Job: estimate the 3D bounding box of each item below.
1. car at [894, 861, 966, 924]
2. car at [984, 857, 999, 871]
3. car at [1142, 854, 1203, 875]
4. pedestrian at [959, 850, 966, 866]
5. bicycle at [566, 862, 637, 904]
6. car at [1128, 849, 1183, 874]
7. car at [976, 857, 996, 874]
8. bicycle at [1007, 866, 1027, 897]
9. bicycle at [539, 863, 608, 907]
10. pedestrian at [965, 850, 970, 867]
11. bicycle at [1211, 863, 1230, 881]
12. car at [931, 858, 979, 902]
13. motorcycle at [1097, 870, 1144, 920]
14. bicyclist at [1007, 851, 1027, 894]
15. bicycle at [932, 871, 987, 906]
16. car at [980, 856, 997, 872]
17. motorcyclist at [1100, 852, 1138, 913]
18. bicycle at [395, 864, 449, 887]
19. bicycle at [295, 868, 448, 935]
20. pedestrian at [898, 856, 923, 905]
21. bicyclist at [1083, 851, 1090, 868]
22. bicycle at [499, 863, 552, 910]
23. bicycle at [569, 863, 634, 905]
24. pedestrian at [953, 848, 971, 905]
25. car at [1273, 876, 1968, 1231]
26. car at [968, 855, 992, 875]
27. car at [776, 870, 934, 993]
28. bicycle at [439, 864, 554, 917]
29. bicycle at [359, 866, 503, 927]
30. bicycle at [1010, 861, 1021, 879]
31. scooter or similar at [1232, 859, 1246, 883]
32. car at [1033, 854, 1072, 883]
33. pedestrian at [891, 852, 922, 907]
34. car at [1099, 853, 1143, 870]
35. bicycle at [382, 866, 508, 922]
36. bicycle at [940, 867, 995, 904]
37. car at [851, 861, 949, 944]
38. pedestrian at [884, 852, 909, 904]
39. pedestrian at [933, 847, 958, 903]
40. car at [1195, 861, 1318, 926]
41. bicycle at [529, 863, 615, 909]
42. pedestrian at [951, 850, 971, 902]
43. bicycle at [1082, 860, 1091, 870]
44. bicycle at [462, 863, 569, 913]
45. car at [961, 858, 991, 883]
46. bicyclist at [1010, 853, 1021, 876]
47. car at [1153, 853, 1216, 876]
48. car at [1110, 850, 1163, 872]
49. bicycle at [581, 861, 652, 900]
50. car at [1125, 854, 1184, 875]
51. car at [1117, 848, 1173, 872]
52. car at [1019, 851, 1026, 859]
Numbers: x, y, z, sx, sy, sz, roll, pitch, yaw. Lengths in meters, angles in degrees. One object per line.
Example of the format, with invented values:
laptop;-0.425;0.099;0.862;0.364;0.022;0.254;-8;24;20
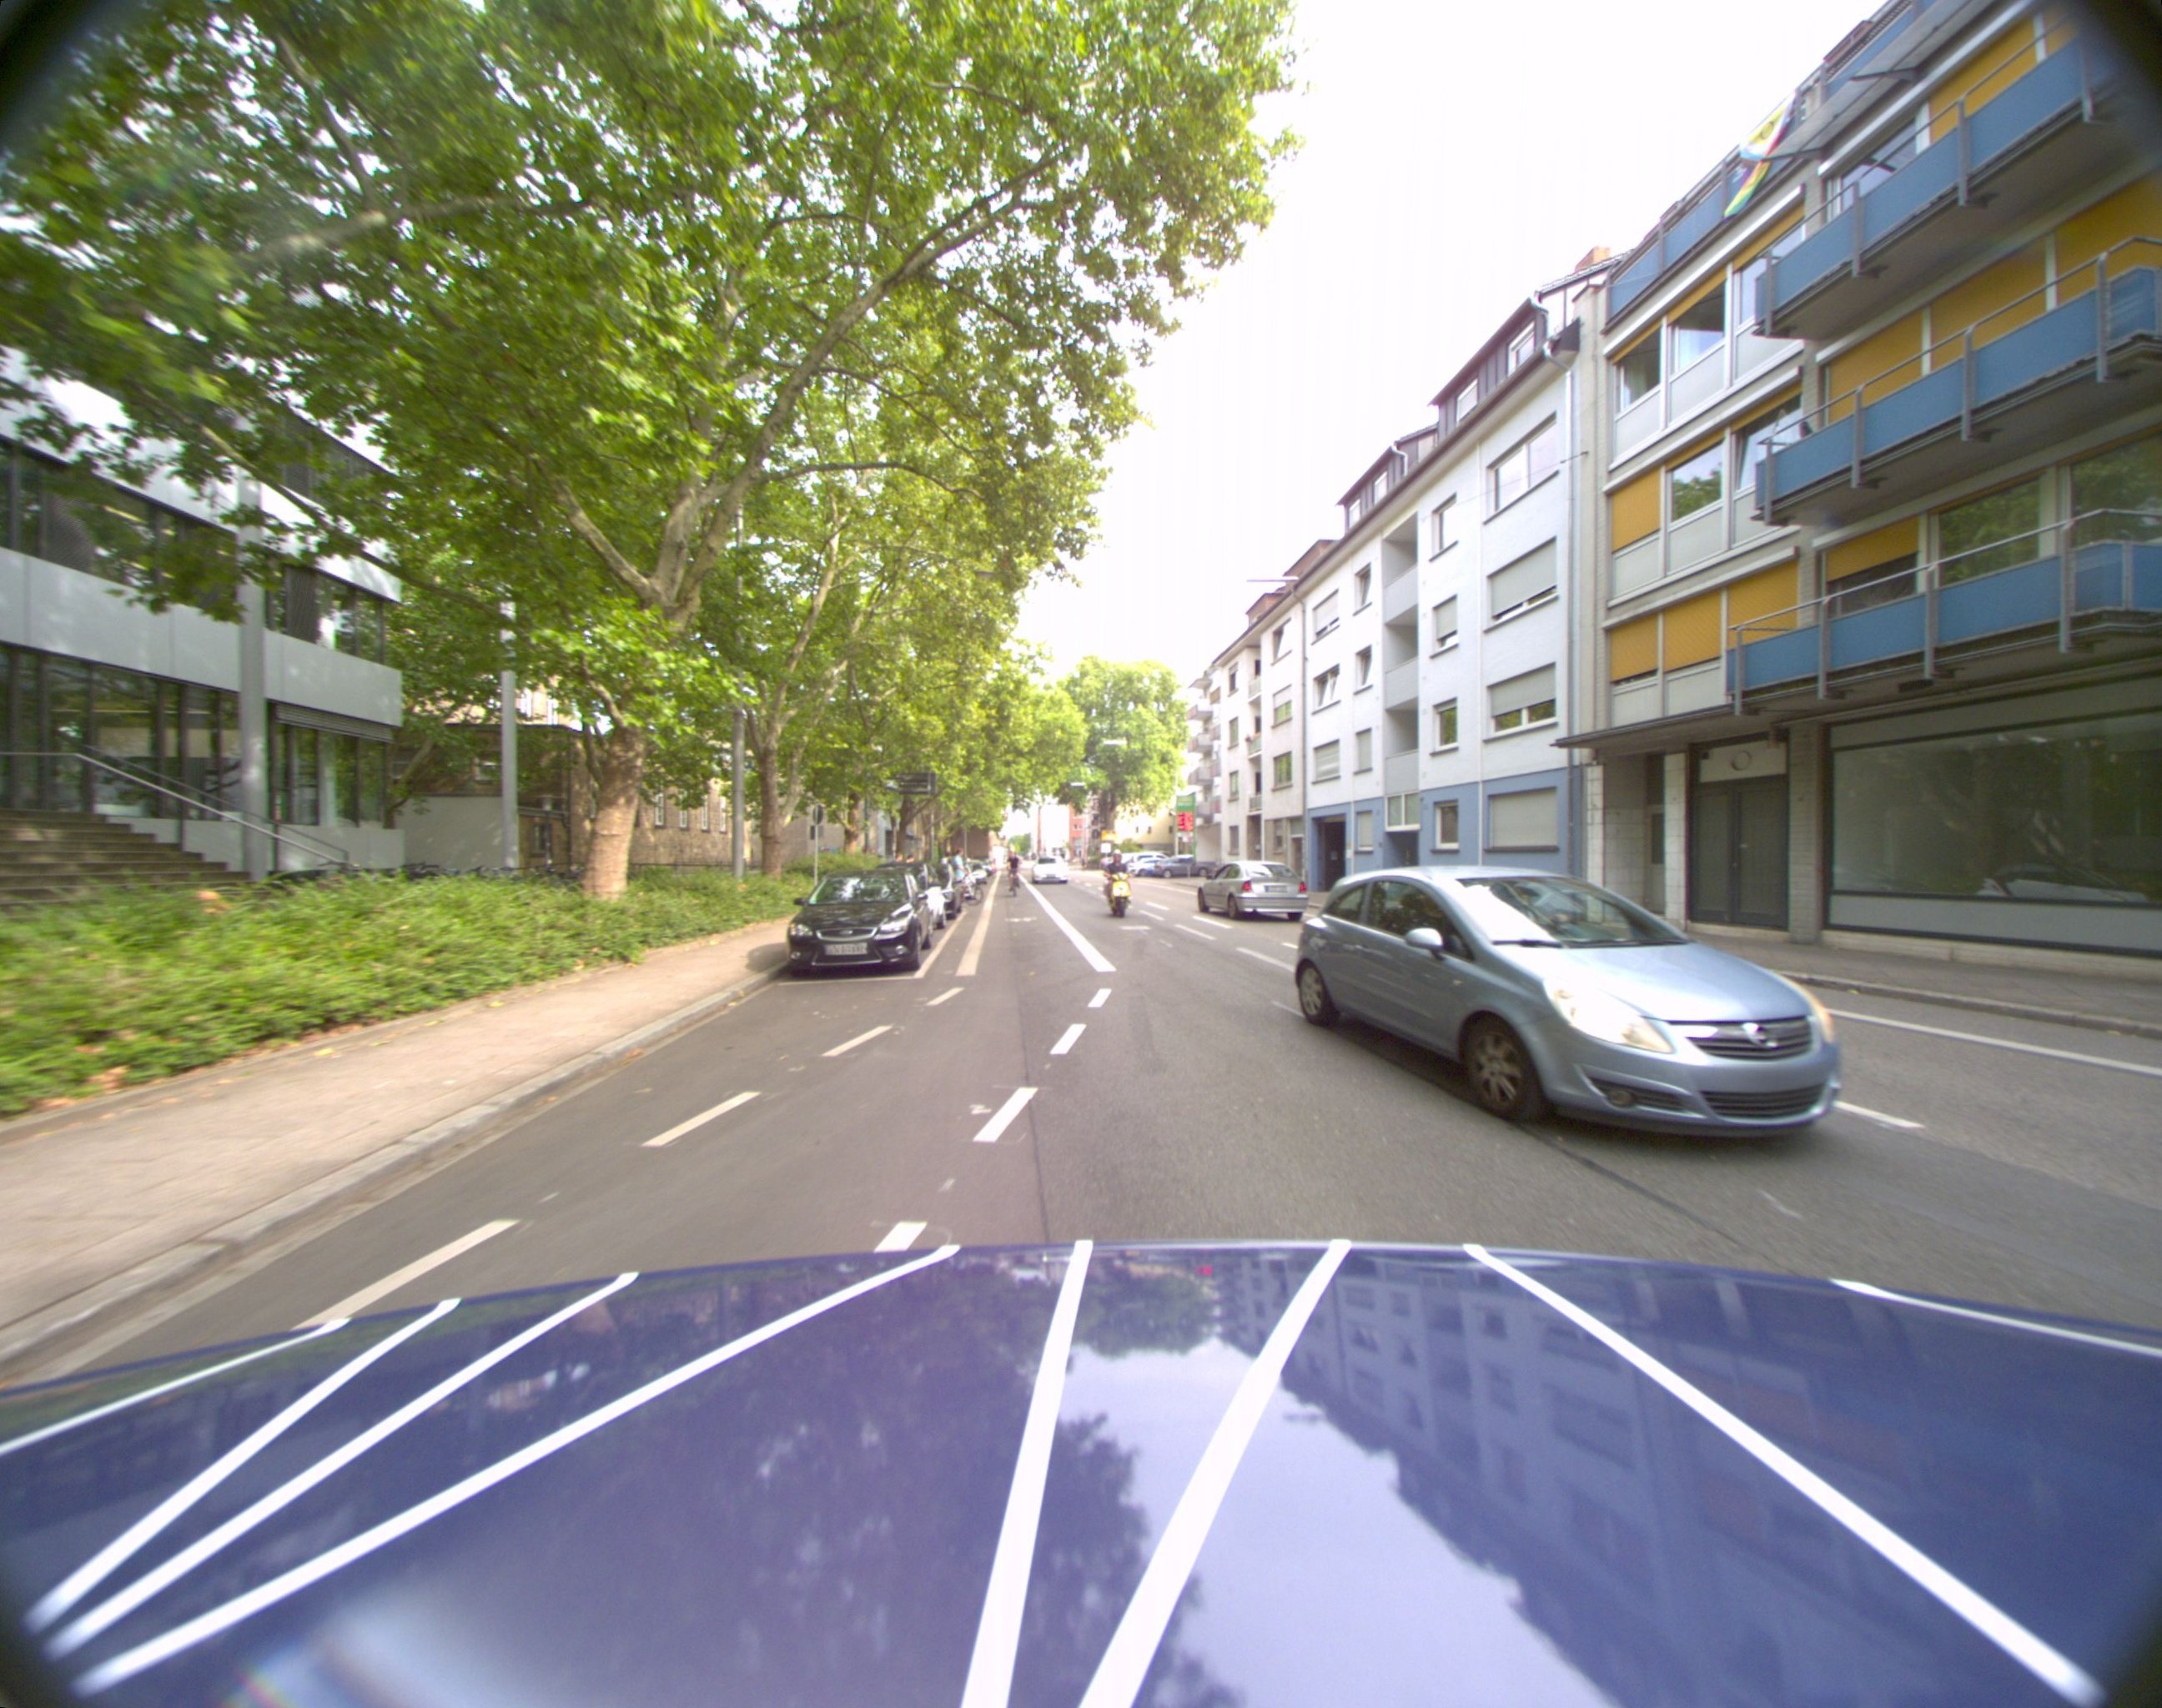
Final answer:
car;-4.078;0.972;20.950;1.533;1.493;3.658;-2;0;-5
car;-10.063;1.108;85.478;1.603;1.438;4.103;-2;0;-5
car;6.939;0.792;57.840;4.313;1.442;1.909;-3;0;-5
pedestrian;-13.327;0.465;85.784;0.644;1.823;0.645;3;1;-7
bicycle;-12.989;0.793;20.600;1.544;1.111;0.468;1;0;-13
car;6.133;0.598;62.767;4.223;1.837;1.923;-3;0;-5
car;-8.760;1.024;70.429;1.644;1.424;4.571;-2;0;-5
bicycle;-2.595;1.094;30.848;0.763;1.162;1.948;-1;0;-5
bicycle;-13.039;0.792;19.537;1.384;1.111;0.510;1;0;-20
pedestrian;-12.751;0.501;85.453;0.502;1.775;0.527;3;1;-7
bicycle;7.677;0.963;41.876;0.599;0.945;1.662;-1;0;-6
car;-5.016;0.974;30.616;1.686;1.507;4.541;-3;0;-8
motorcycle;1.005;1.051;20.242;0.905;1.190;2.629;0;0;-5
bicyclist;-2.606;0.725;30.809;0.765;1.699;0.917;-1;1;-5
bicycle;-4.108;1.167;25.642;1.741;1.099;0.551;-1;1;-17
car;-9.707;1.024;80.170;1.603;1.496;4.438;-2;0;-5
motorcyclist;1.009;0.748;20.243;0.905;1.608;0.691;0;1;-5
bicycle;-25.785;0.825;29.736;1.624;0.873;0.508;0;3;-1
bicycle;-12.348;0.824;13.271;1.921;1.111;0.673;1;0;-6
pedestrian;-5.905;0.912;26.334;0.723;1.648;0.654;-1;1;-6
bicyclist;0.587;0.600;80.748;0.654;1.800;1.045;-1;1;-6
bicycle;-13.867;0.798;18.992;0.492;1.111;1.436;1;0;-11
bicycle;-12.716;0.794;20.182;1.383;1.111;0.468;1;0;-13
pedestrian;-4.066;0.750;25.914;0.476;1.923;0.743;-2;1;-17
car;3.007;0.935;5.529;1.718;1.412;4.250;-1;0;-7
car;-8.670;0.906;65.099;1.927;1.612;4.478;-2;0;-7
car;-3.302;1.026;11.916;1.703;1.417;4.418;-2;0;-8
bicycle;-12.769;0.796;16.646;1.921;1.111;0.673;1;0;-6
bicycle;-12.455;0.812;14.603;2.085;1.111;0.673;1;0;-6
bicycle;-4.523;1.107;52.373;0.763;1.162;1.948;-1;0;-5
scooter or similar;8.127;0.847;39.203;0.350;1.214;1.201;-1;0;-6
car;-1.730;0.807;44.595;2.001;1.556;4.548;-1;0;-6
pedestrian;-5.850;0.842;25.558;0.873;1.806;0.779;-1;1;-6
car;4.356;0.798;83.295;4.531;1.596;1.753;-3;0;-5
bicycle;-13.015;0.811;15.594;1.921;1.111;0.673;1;0;-6
bicycle;-4.021;1.096;26.957;1.797;1.210;0.552;-1;1;-23
car;-3.764;0.957;16.154;1.540;1.534;2.598;-2;0;-3
pedestrian;-6.618;0.845;27.252;0.723;1.844;0.703;-1;1;-6
pedestrian;-4.930;0.744;27.630;0.795;1.986;0.749;-1;1;-6
car;4.337;0.923;19.468;1.763;1.419;4.096;1;0;-7
bicycle;-12.691;0.788;18.991;1.702;1.111;0.622;1;0;-25
pedestrian;-4.284;0.785;27.172;0.522;1.834;0.743;-2;1;-20
bicycle;0.598;1.116;80.731;0.648;1.008;2.075;-1;1;-6
bicycle;-13.140;0.792;17.701;1.921;1.111;0.673;1;0;-6
car;-6.524;0.980;46.819;1.648;1.439;3.879;-2;0;-10
bicyclist;-4.521;0.731;52.377;0.749;1.590;0.819;-1;1;-5
car;7.526;0.752;55.554;4.163;1.504;1.836;-3;0;-5
car;5.232;0.618;71.956;4.629;1.848;1.949;-3;0;-5
bicycle;-13.818;0.787;22.631;1.680;1.111;0.604;1;0;-12
car;5.765;0.826;60.031;4.284;1.442;1.873;-3;0;-5
car;5.865;0.561;69.542;4.781;1.923;1.993;-3;0;-5
car;-17.772;0.341;229.490;1.999;2.546;4.796;-1;0;-5
